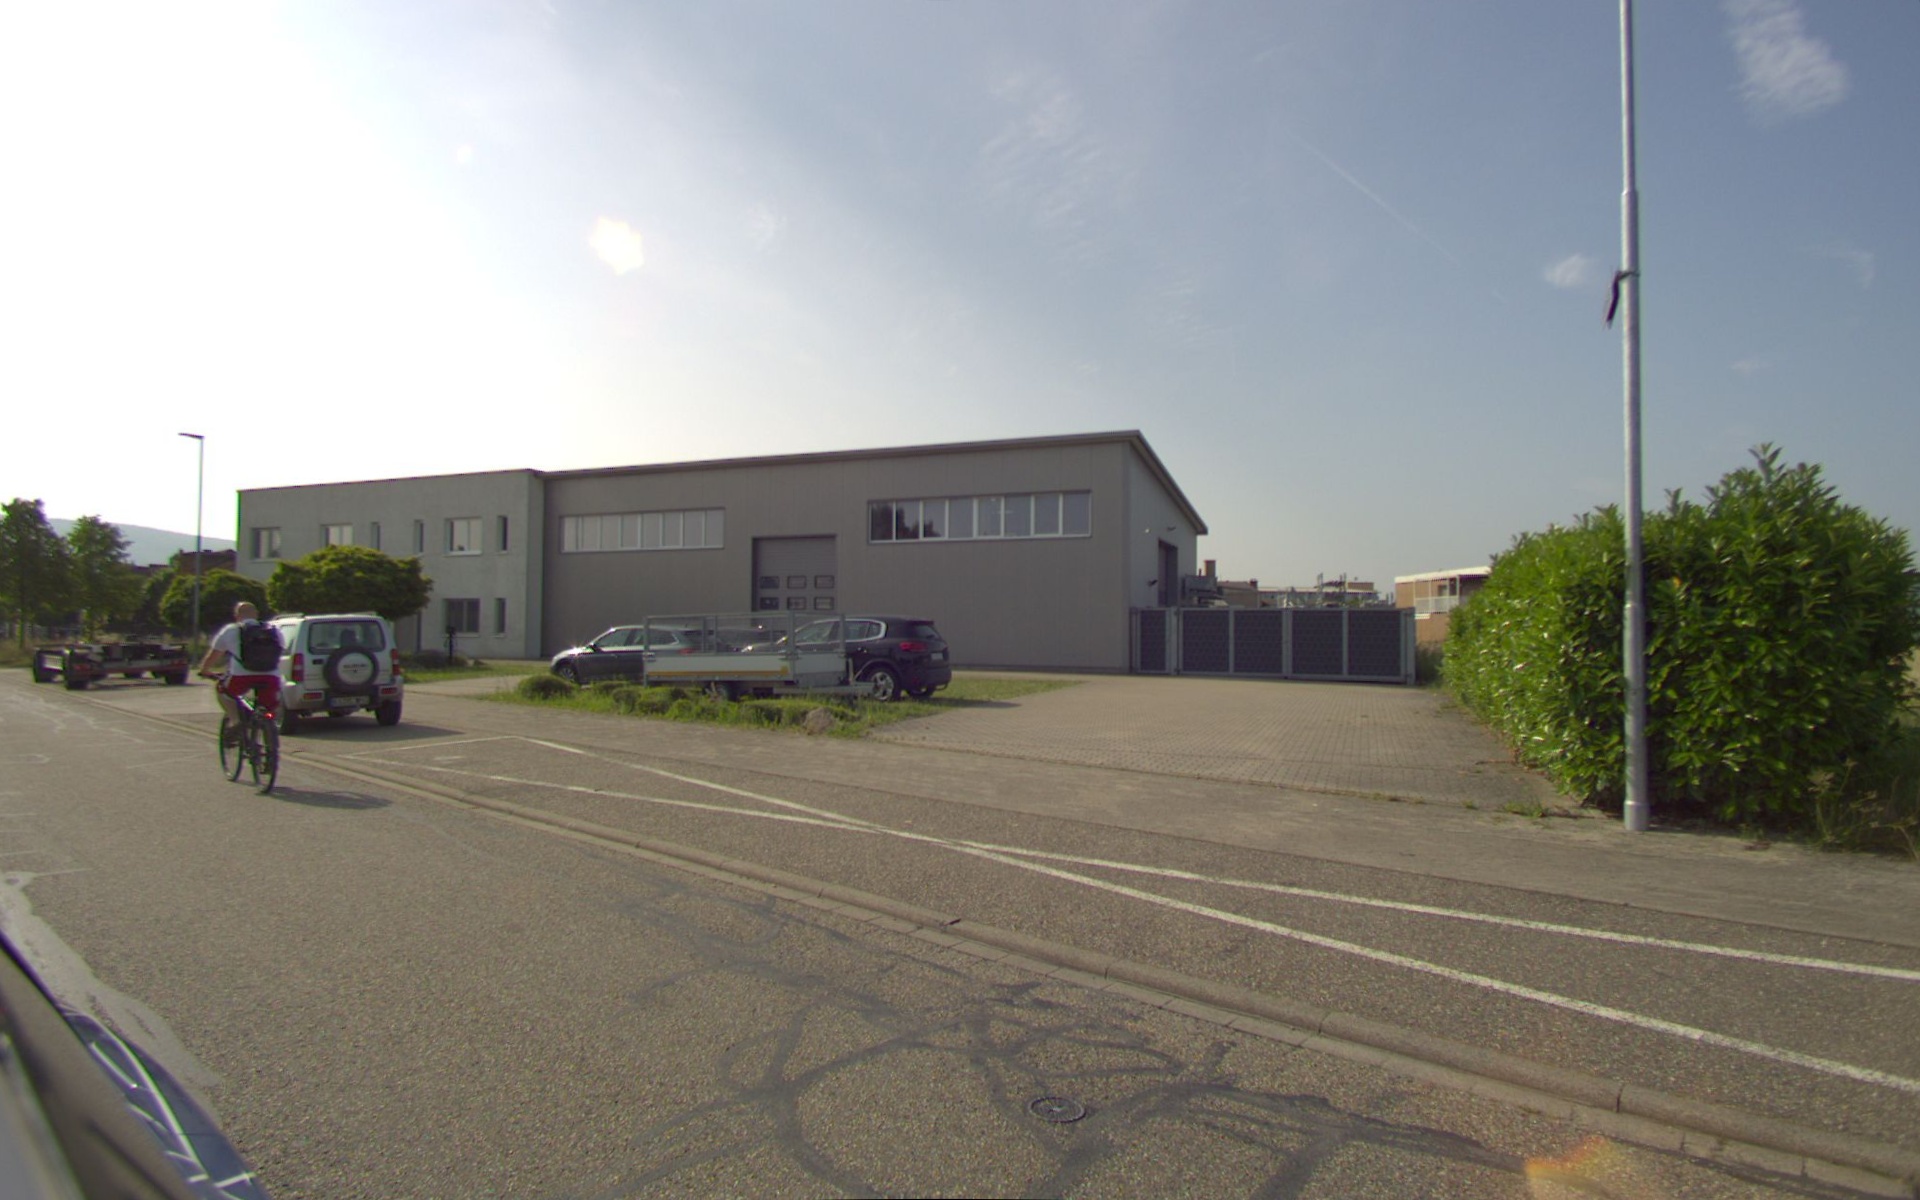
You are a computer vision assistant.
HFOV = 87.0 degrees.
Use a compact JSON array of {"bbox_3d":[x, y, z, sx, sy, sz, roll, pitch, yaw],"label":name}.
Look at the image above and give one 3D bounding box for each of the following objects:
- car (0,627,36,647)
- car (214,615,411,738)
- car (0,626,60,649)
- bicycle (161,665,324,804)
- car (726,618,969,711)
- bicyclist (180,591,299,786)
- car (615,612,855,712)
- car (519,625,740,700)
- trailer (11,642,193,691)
[{"bbox_3d":[-89.708,3.459,94.992,1.985,1.807,3.974,-1,-2,19],"label":"car"},{"bbox_3d":[-9.920,1.082,15.424,3.642,1.663,1.580,-2,-2,41],"label":"car"},{"bbox_3d":[-73.112,2.940,79.071,1.999,1.741,3.944,-2,-3,42],"label":"car"},{"bbox_3d":[-6.857,1.214,9.625,2.218,1.131,0.708,-2,-5,42],"label":"bicycle"},{"bbox_3d":[-2.207,1.206,19.940,4.394,1.671,1.980,-1,-2,24],"label":"car"},{"bbox_3d":[-6.877,0.812,9.654,1.165,1.732,0.632,-2,-3,41],"label":"bicyclist"},{"bbox_3d":[-3.937,1.021,17.745,3.794,1.584,1.824,-1,-1,25],"label":"car"},{"bbox_3d":[-7.171,1.289,21.967,4.394,1.487,1.966,-1,-2,24],"label":"car"},{"bbox_3d":[-24.251,1.754,28.371,9.726,1.082,2.519,-2,-2,41],"label":"trailer"}]
